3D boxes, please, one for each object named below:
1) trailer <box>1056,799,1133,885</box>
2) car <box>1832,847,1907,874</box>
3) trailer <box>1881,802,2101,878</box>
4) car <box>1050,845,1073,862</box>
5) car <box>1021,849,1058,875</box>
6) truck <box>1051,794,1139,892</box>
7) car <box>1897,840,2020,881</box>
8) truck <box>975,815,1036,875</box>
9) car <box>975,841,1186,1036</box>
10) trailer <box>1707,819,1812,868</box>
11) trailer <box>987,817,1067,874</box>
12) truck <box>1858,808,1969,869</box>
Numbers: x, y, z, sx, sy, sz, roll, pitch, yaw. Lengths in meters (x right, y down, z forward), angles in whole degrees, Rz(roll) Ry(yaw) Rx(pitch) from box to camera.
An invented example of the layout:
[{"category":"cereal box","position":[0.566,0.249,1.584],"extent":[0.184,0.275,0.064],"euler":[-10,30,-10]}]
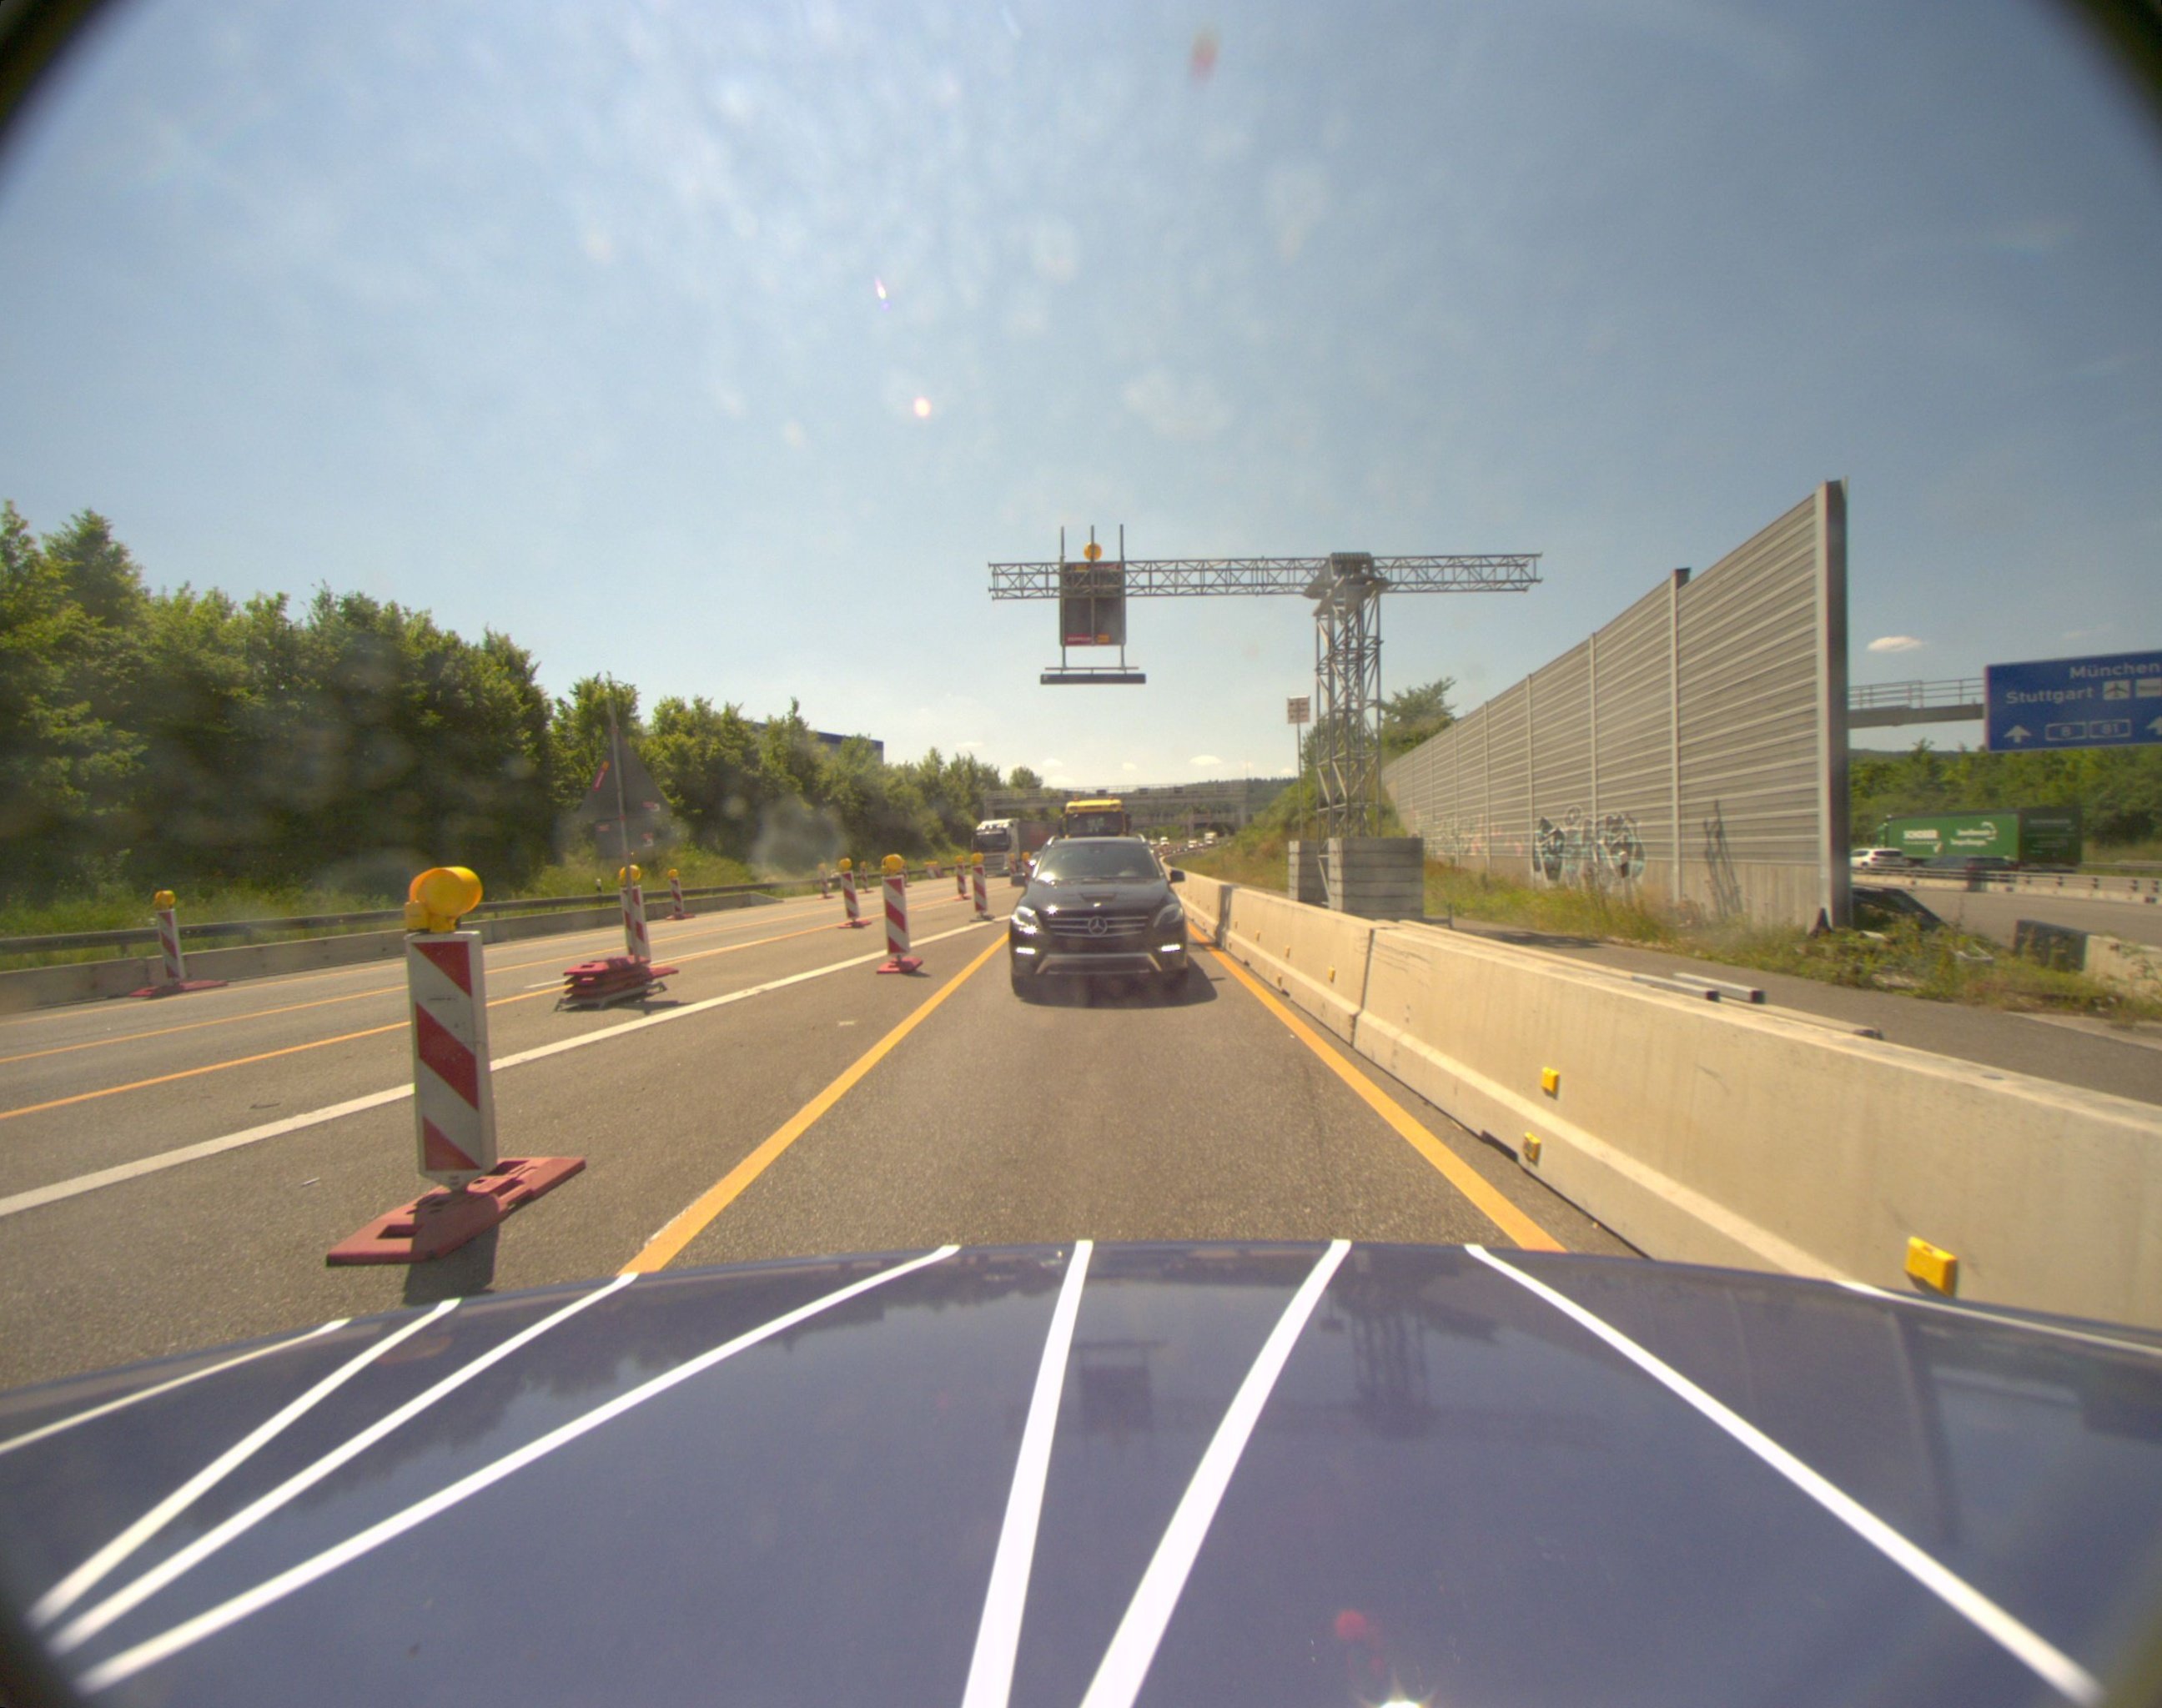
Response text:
[{"category":"trailer","position":[0.511,-0.499,42.120],"extent":[3.237,3.645,17.420],"euler":[-3,0,-1]},{"category":"car","position":[50.220,0.381,48.493],"extent":[1.717,1.614,4.176],"euler":[-1,1,21]},{"category":"trailer","position":[59.353,-0.967,50.395],"extent":[3.549,4.246,13.928],"euler":[-1,1,24]},{"category":"car","position":[-2.209,-0.068,87.193],"extent":[1.818,1.686,4.495],"euler":[-3,1,8]},{"category":"car","position":[-2.777,0.513,51.515],"extent":[1.709,1.544,4.033],"euler":[-3,1,8]},{"category":"truck","position":[0.507,-0.421,32.882],"extent":[3.230,3.639,7.082],"euler":[-3,0,-1]},{"category":"car","position":[39.502,0.251,34.377],"extent":[1.699,1.720,4.457],"euler":[0,1,21]},{"category":"truck","position":[-5.284,-0.641,54.115],"extent":[2.531,3.927,5.603],"euler":[-3,0,11]},{"category":"car","position":[0.262,0.732,9.025],"extent":[1.818,1.686,4.495],"euler":[-3,1,7]},{"category":"trailer","position":[66.171,-1.121,74.650],"extent":[3.549,4.246,13.928],"euler":[-1,1,24]},{"category":"trailer","position":[-3.971,-0.712,60.718],"extent":[2.545,3.930,13.879],"euler":[-3,0,11]},{"category":"truck","position":[62.323,-1.137,57.105],"extent":[3.549,4.246,5.787],"euler":[-1,1,24]}]
